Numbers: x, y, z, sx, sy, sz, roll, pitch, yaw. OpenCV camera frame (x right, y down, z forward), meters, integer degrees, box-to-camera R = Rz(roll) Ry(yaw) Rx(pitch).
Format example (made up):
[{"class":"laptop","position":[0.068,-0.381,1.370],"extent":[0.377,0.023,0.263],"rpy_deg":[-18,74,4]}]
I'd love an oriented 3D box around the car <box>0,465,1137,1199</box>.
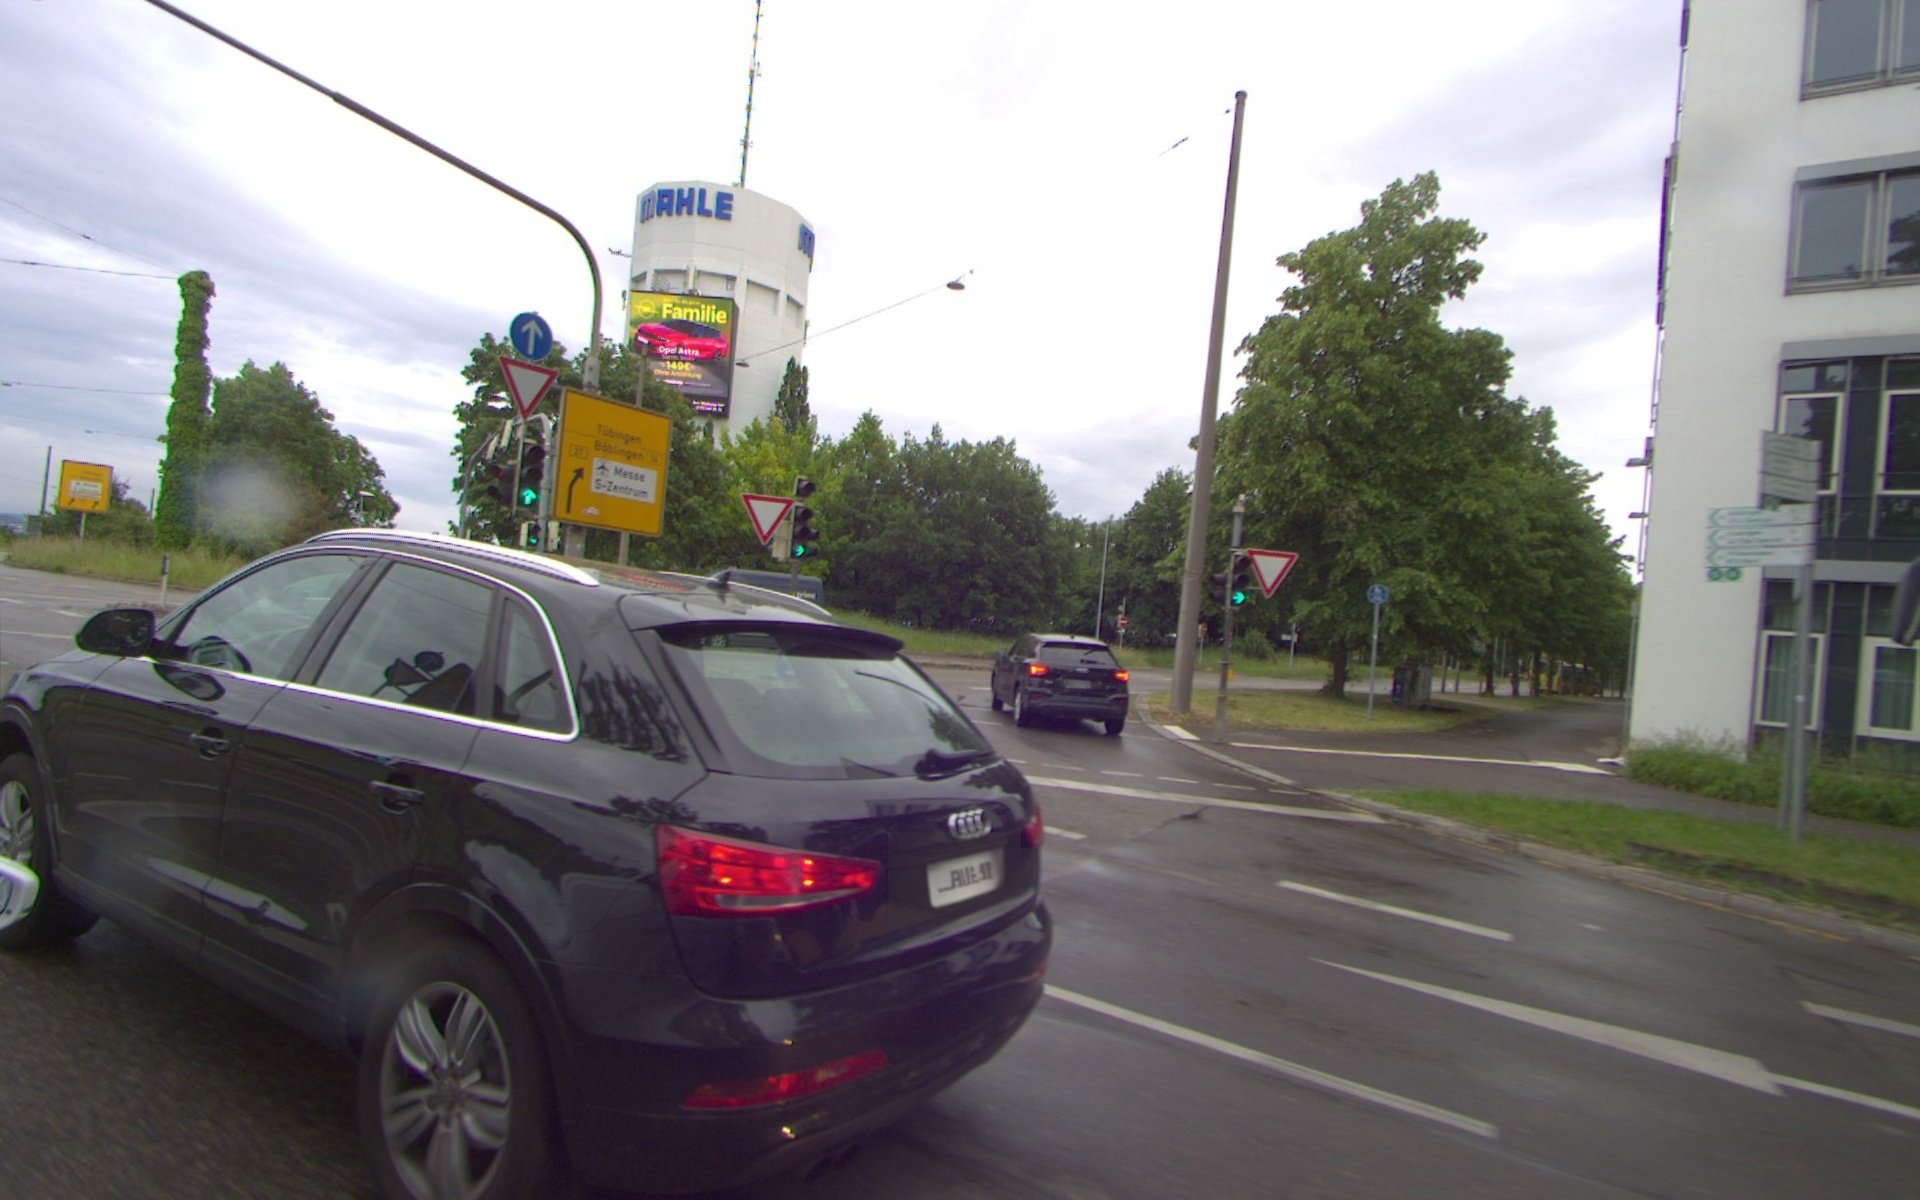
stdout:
[{"class":"car","position":[-1.689,0.541,3.583],"extent":[4.045,1.613,1.889],"rpy_deg":[5,-3,31]}]

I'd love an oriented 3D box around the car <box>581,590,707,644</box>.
[{"class":"car","position":[-12.061,0.669,38.478],"extent":[4.112,1.582,1.852],"rpy_deg":[8,-3,-38]}]

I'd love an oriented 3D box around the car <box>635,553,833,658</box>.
[{"class":"car","position":[-7.521,0.262,33.860],"extent":[5.971,2.772,2.065],"rpy_deg":[8,-3,-33]}]

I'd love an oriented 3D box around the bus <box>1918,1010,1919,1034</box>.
[{"class":"bus","position":[9.693,1.109,1.117],"extent":[11.945,3.187,2.733],"rpy_deg":[6,-3,32]}]

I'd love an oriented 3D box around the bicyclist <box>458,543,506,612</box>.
[{"class":"bicyclist","position":[-12.019,-0.546,25.284],"extent":[0.803,1.601,1.015],"rpy_deg":[8,-3,-32]}]

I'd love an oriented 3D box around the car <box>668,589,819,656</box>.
[{"class":"car","position":[-6.614,0.703,30.870],"extent":[4.027,1.586,1.855],"rpy_deg":[8,-4,-36]}]

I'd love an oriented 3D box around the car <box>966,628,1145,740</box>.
[{"class":"car","position":[1.488,1.347,17.347],"extent":[1.839,1.516,4.144],"rpy_deg":[4,-1,-12]}]

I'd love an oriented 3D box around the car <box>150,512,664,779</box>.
[{"class":"car","position":[-5.108,0.319,9.174],"extent":[4.487,1.694,1.870],"rpy_deg":[6,-2,29]}]
